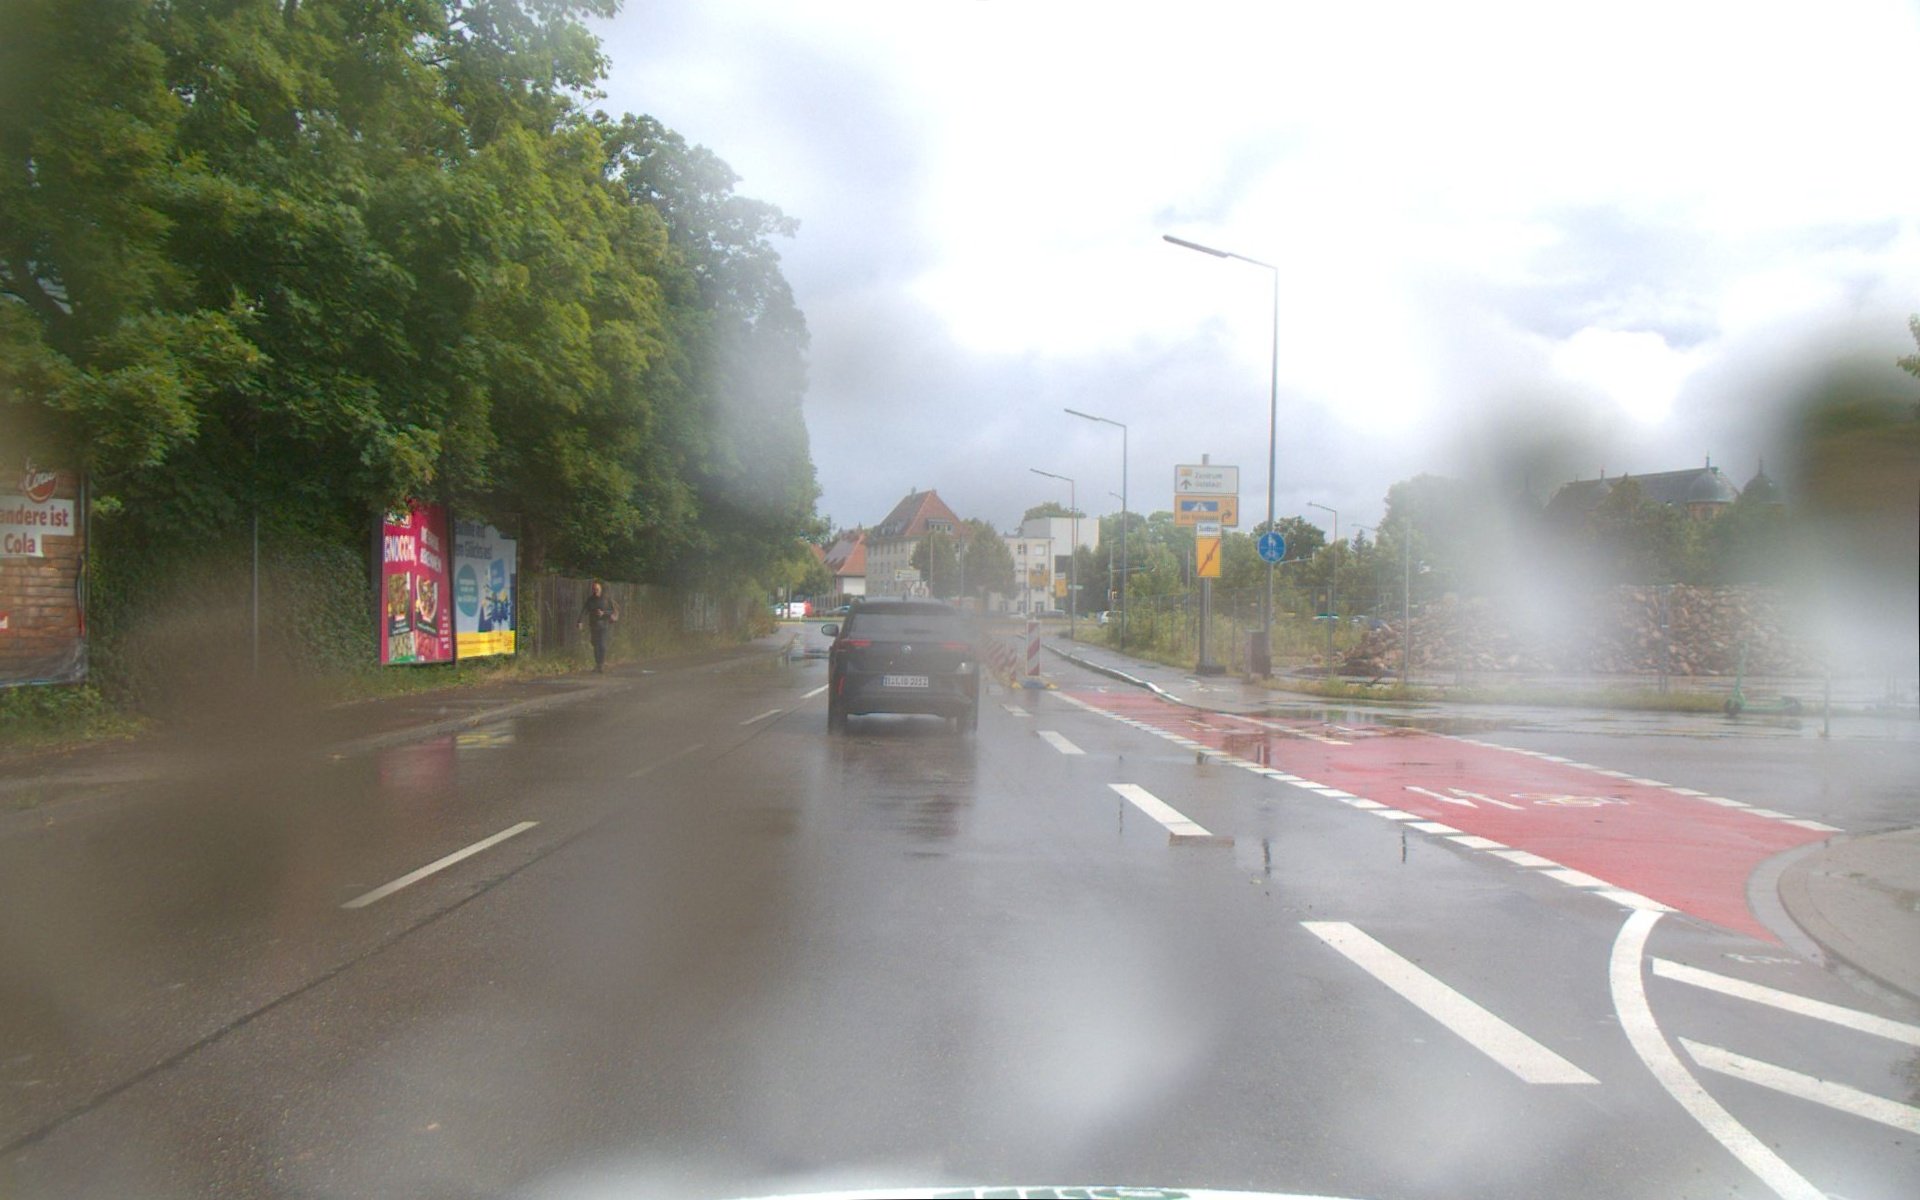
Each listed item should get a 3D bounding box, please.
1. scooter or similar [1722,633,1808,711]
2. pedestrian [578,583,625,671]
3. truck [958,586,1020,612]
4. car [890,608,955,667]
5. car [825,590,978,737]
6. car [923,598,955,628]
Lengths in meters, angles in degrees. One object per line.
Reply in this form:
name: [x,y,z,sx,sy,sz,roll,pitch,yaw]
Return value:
scooter or similar: [12.581,1.119,25.858,1.170,1.170,0.481,0,-1,33]
pedestrian: [-7.361,0.548,33.992,0.822,1.800,0.644,0,-1,-1]
truck: [3.242,-0.101,185.471,6.920,2.696,2.330,1,0,1]
car: [-1.064,1.011,45.927,1.700,1.540,3.602,1,0,-2]
car: [-0.744,0.733,20.391,1.674,1.601,3.680,2,-1,-3]
car: [-1.346,0.797,102.880,1.827,1.841,4.401,1,0,-3]
